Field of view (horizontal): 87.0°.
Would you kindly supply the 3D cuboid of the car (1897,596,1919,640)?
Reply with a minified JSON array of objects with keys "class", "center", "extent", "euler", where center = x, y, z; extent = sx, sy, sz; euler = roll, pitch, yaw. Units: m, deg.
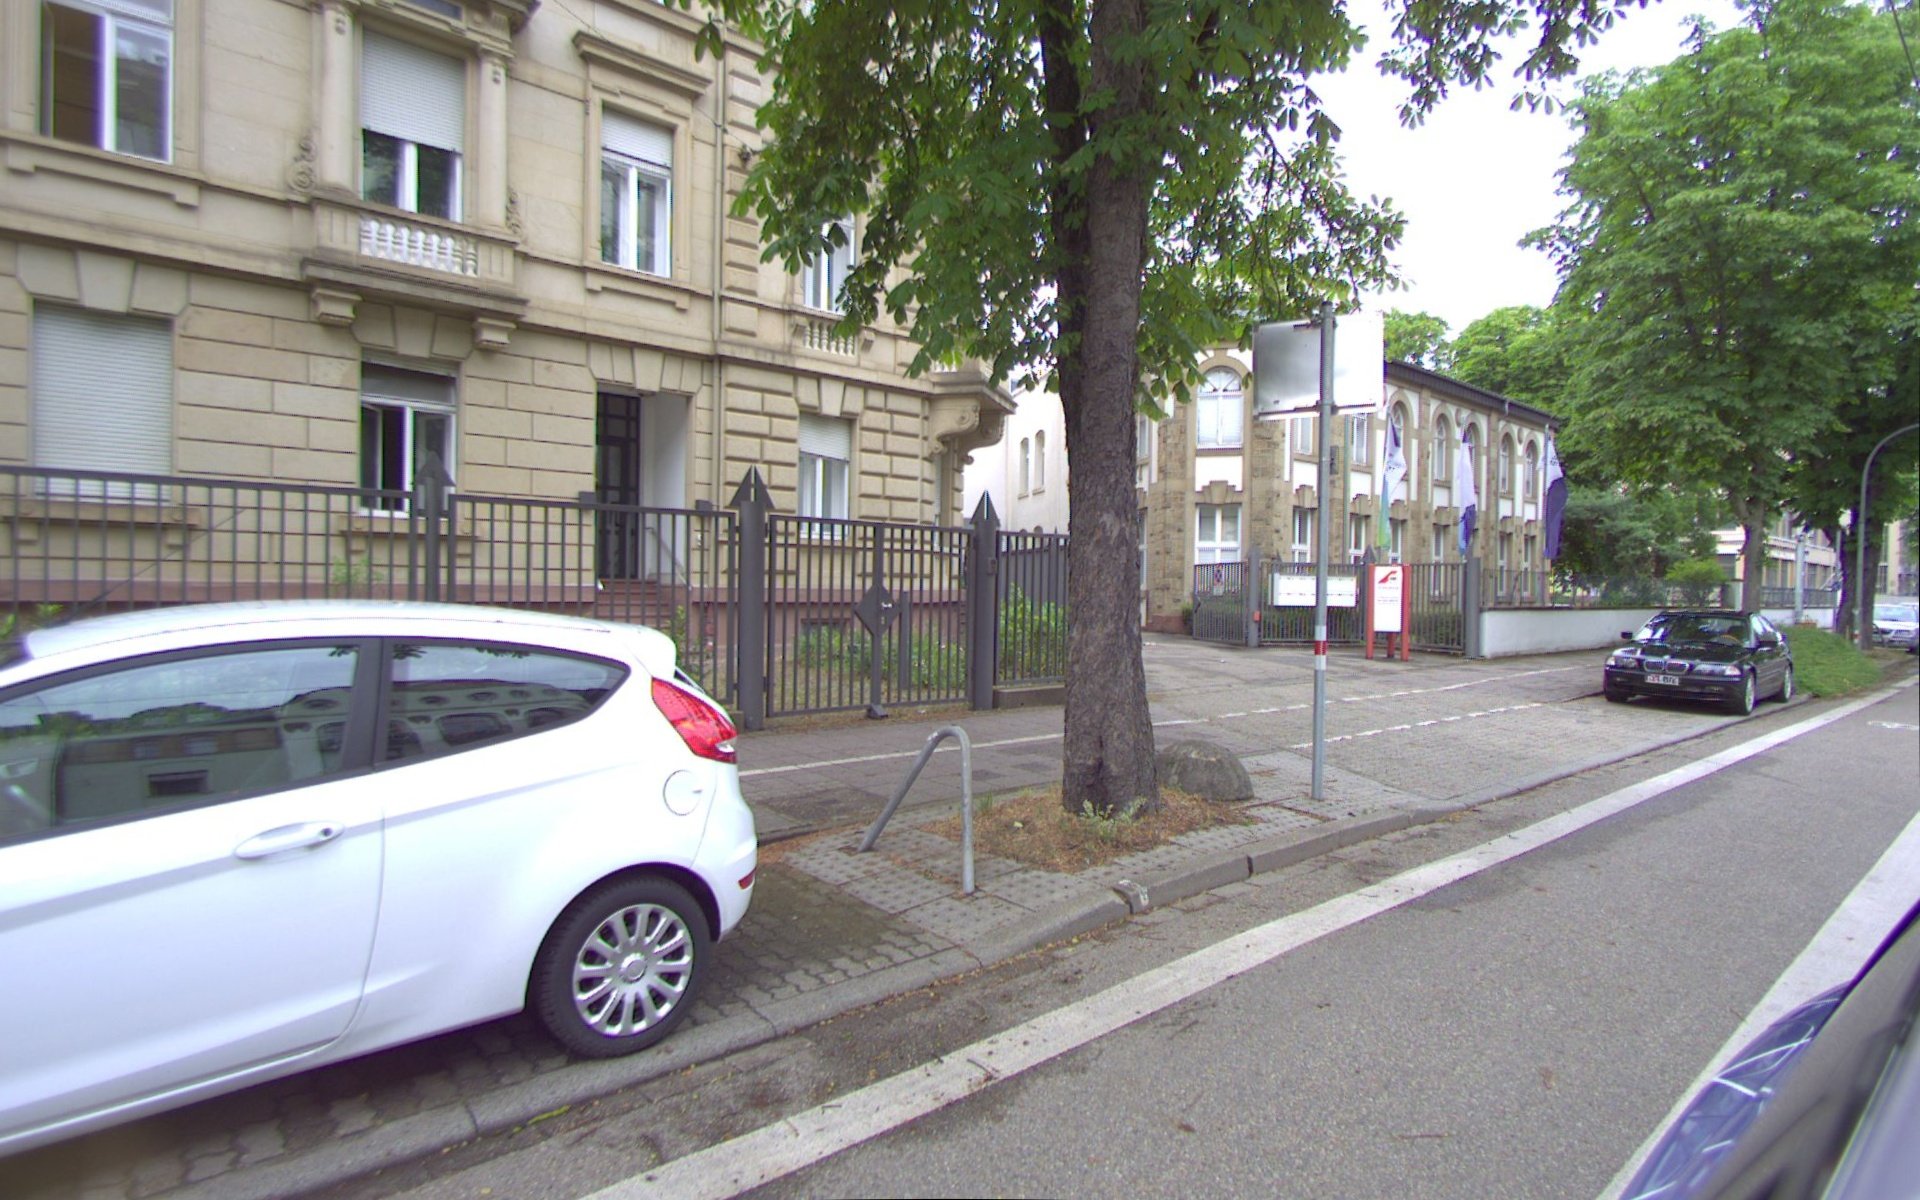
[{"class":"car","center":[33.069,0.613,34.187],"extent":[3.769,1.442,1.606],"euler":[0,3,-41]}]

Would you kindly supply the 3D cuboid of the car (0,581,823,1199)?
[{"class":"car","center":[-2.439,0.708,3.089],"extent":[3.698,1.453,1.631],"euler":[0,3,-41]}]

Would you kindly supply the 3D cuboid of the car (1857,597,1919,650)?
[{"class":"car","center":[27.717,0.647,29.652],"extent":[3.769,1.387,1.606],"euler":[0,3,-41]}]

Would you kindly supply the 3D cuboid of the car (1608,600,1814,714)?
[{"class":"car","center":[11.134,0.736,14.916],"extent":[3.769,1.387,1.606],"euler":[0,3,-41]}]
